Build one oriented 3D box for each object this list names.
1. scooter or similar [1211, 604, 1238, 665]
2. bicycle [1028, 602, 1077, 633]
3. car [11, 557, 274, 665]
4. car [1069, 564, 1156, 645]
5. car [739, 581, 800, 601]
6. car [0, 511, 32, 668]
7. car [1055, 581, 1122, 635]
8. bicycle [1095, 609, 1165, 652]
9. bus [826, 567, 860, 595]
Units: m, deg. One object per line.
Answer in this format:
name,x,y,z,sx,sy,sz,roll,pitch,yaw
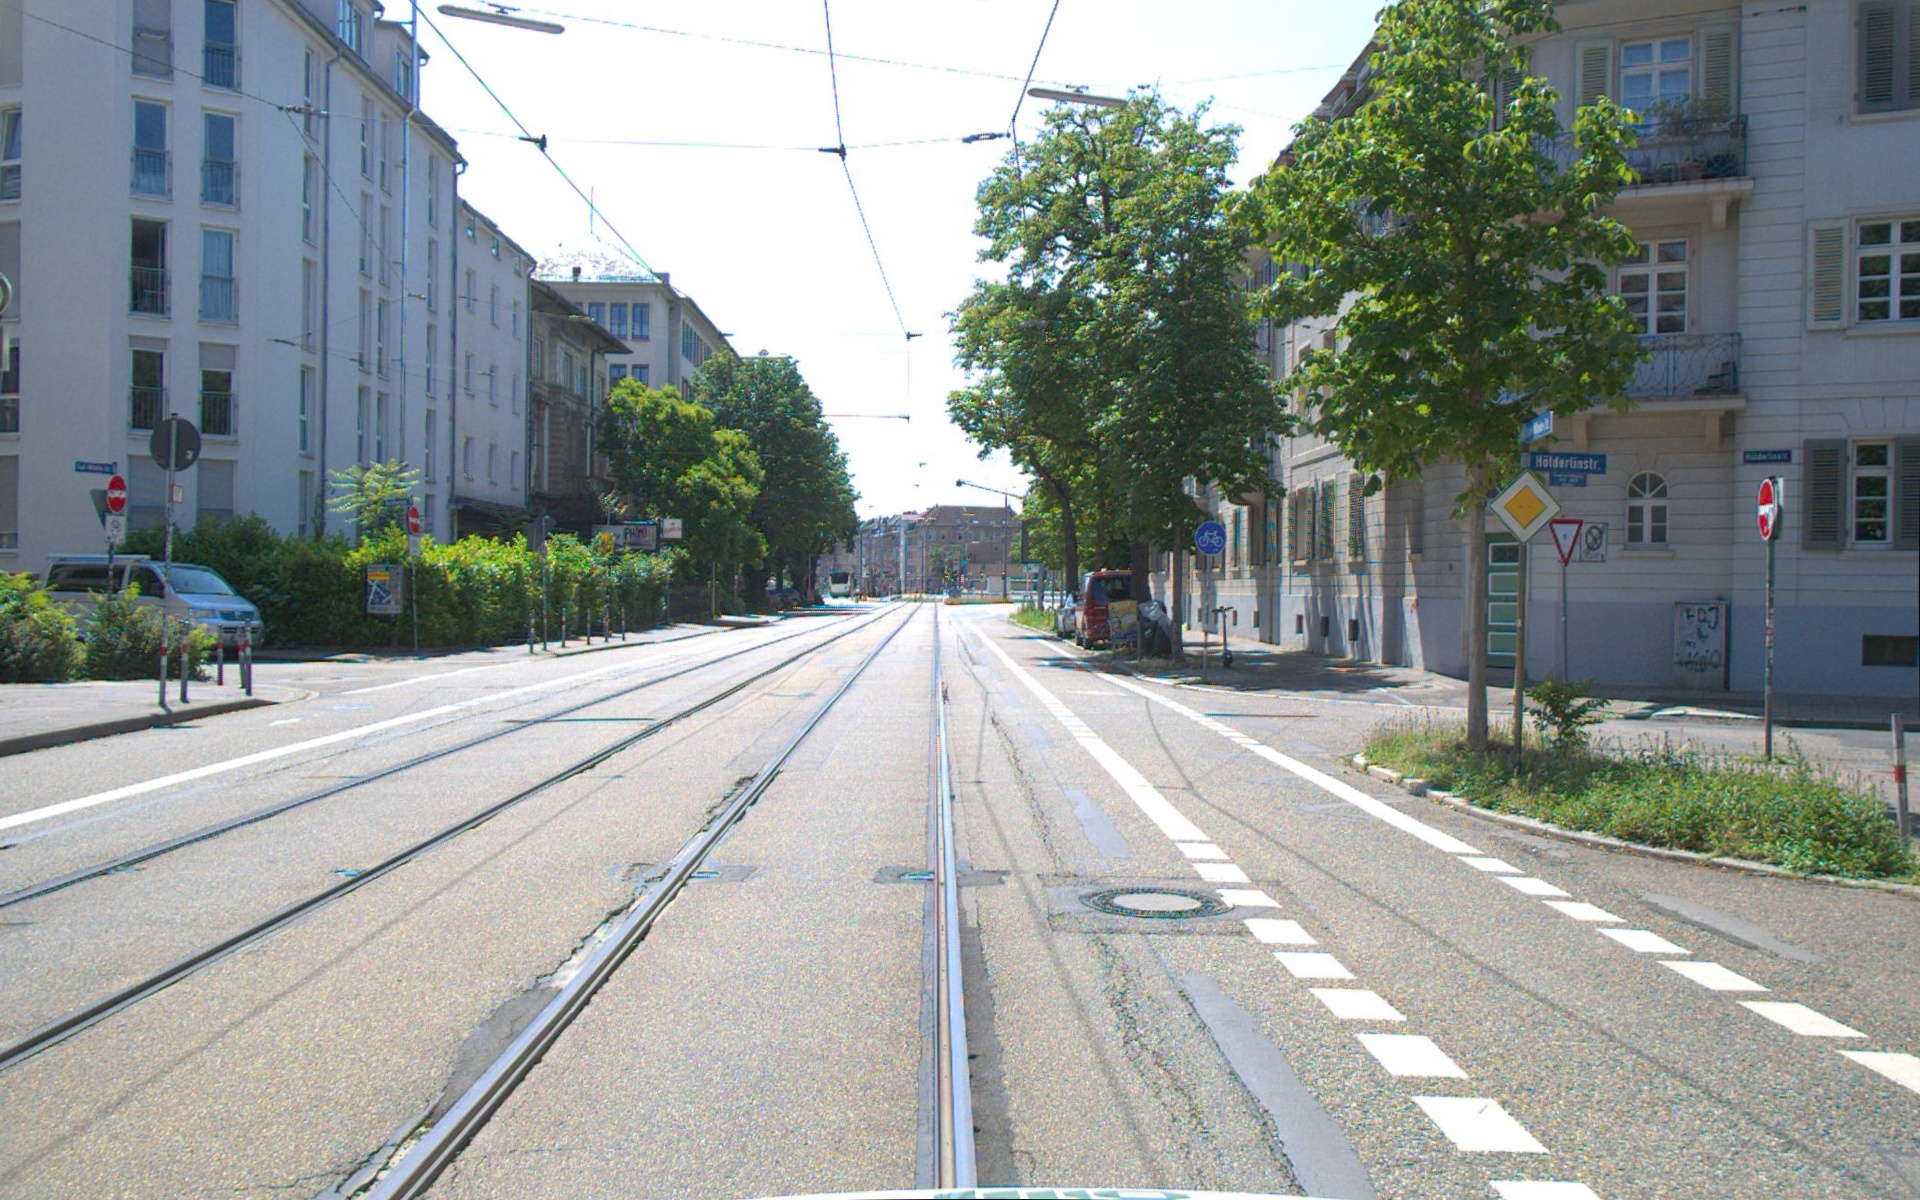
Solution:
scooter or similar,5.253,0.682,32.911,0.289,1.181,1.252,1,0,-2
bicycle,3.142,0.590,56.284,1.624,1.033,0.371,1,0,-1
car,-16.355,0.174,33.131,4.593,2.019,2.157,1,0,20
car,4.037,0.099,44.592,1.821,2.049,4.975,1,0,0
car,-13.161,-0.616,114.175,3.874,1.398,1.655,0,1,-27
car,-17.785,-0.182,25.596,2.075,2.635,6.192,1,0,18
car,4.047,0.244,52.579,1.821,1.605,4.878,1,0,1
bicycle,4.162,0.746,40.454,1.664,1.039,0.364,0,0,-7
bus,-14.432,-2.356,205.349,2.949,3.213,17.497,1,1,0
